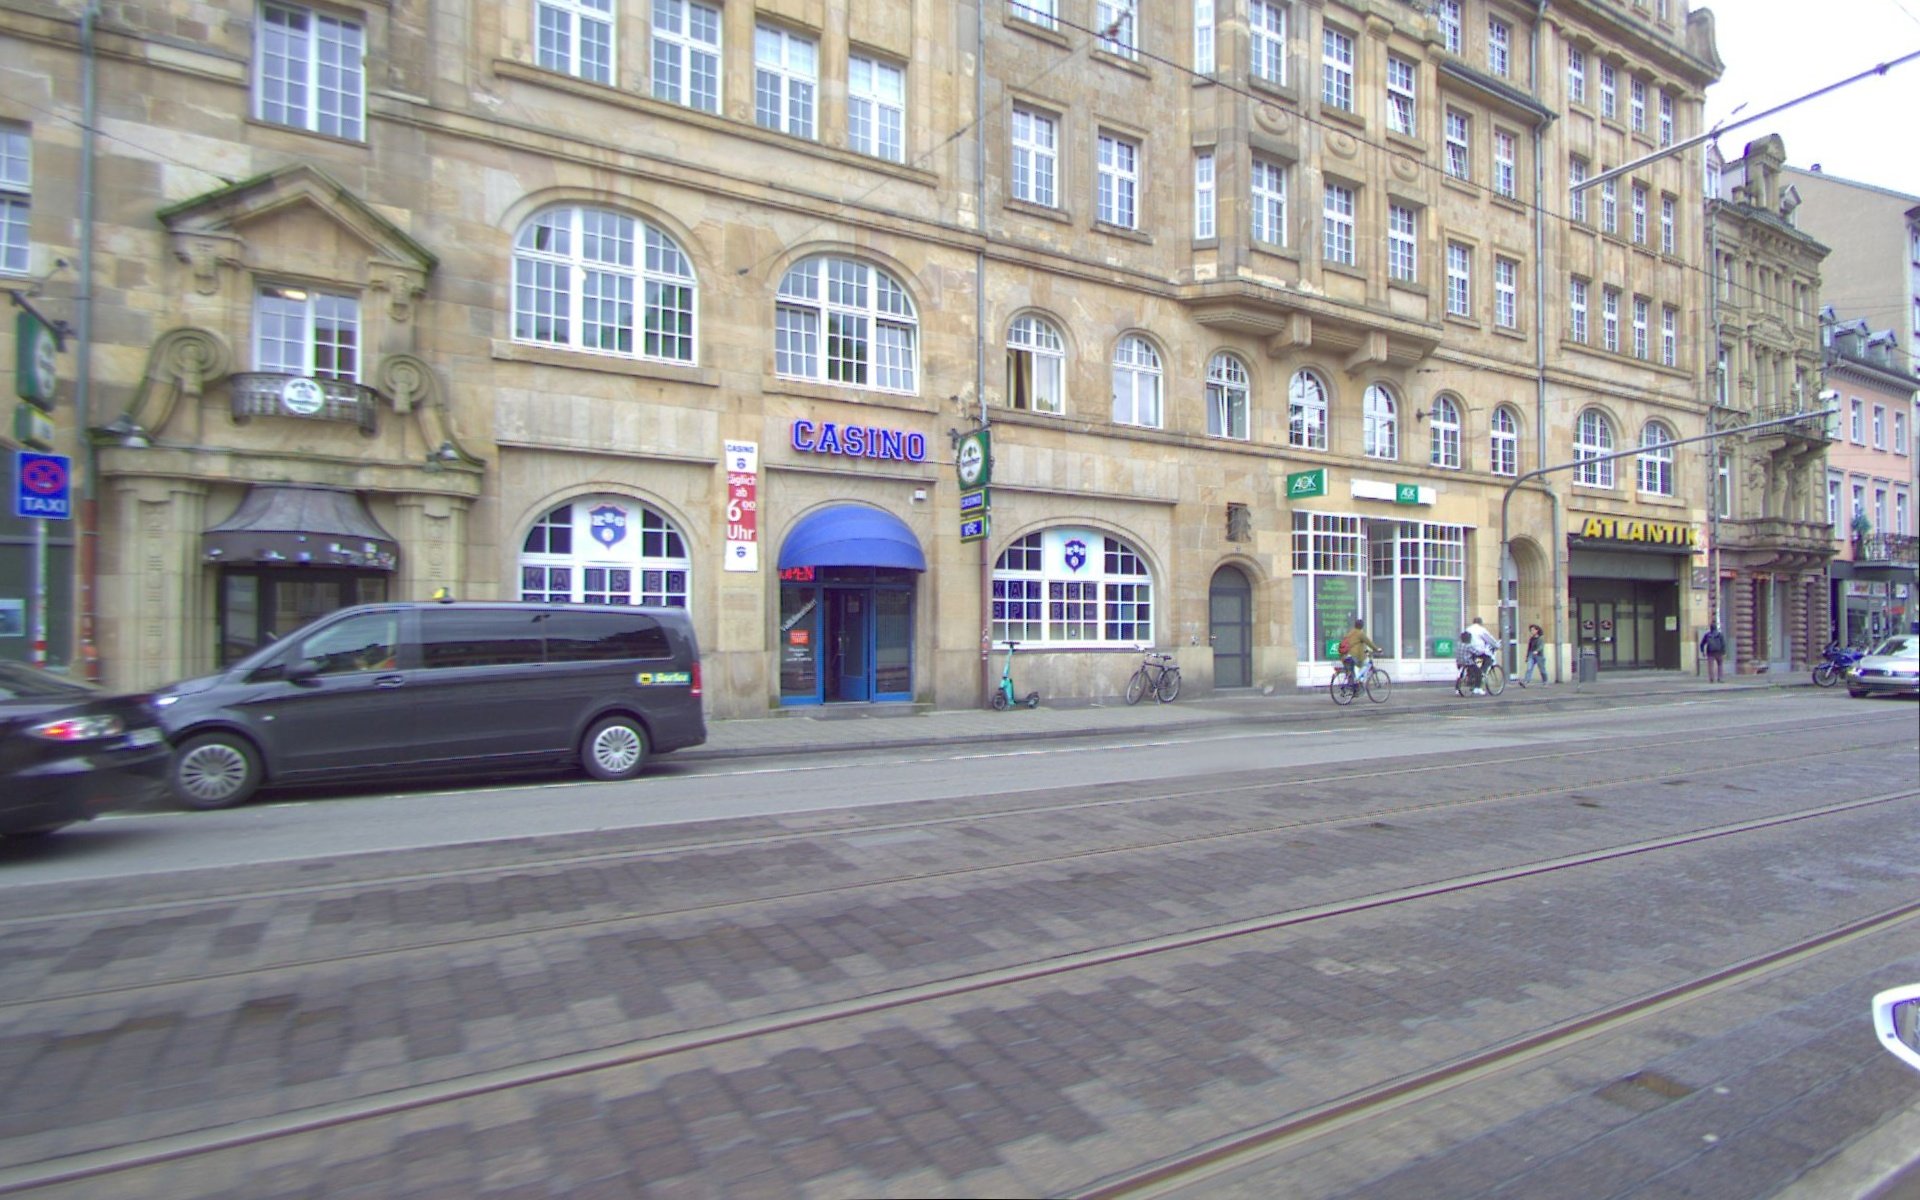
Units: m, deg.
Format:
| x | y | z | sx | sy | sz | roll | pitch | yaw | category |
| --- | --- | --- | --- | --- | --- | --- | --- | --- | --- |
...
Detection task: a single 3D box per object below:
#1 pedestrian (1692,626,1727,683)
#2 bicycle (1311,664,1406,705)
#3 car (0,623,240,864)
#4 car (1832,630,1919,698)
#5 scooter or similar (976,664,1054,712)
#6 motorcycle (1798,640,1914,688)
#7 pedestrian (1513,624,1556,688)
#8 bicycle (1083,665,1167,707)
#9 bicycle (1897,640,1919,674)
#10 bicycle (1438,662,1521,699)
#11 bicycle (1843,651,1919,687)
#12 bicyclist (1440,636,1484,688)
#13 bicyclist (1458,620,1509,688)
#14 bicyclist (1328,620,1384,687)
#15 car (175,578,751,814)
| x | y | z | sx | sy | sz | roll | pitch | yaw | category |
| --- | --- | --- | --- | --- | --- | --- | --- | --- | --- |
| 21.541 | 1.556 | 28.875 | 0.710 | 1.619 | 0.565 | 1 | -2 | -30 | pedestrian |
| 8.231 | 1.718 | 20.697 | 2.224 | 0.755 | 0.579 | 1 | -2 | -31 | bicycle |
| -7.594 | 0.920 | 6.340 | 4.599 | 1.452 | 1.824 | 0 | -4 | -22 | car |
| 22.541 | 1.452 | 23.584 | 4.560 | 1.468 | 1.751 | 1 | -2 | -30 | car |
| 1.014 | 1.596 | 18.400 | 1.330 | 0.813 | 0.579 | 1 | -2 | -30 | scooter or similar |
| 25.673 | 1.808 | 28.834 | 2.299 | 1.320 | 0.883 | -1 | -2 | 24 | motorcycle |
| 14.888 | 1.433 | 26.019 | 0.733 | 1.634 | 0.682 | 1 | -2 | -30 | pedestrian |
| 3.271 | 1.691 | 19.860 | 1.686 | 0.755 | 0.579 | 1 | -2 | -30 | bicycle |
| 32.274 | 1.877 | 32.911 | 0.499 | 1.141 | 2.215 | 1 | -2 | -37 | bicycle |
| 11.832 | 1.818 | 22.845 | 2.224 | 0.755 | 0.579 | 1 | -2 | -31 | bicycle |
| 27.893 | 2.055 | 30.194 | 0.459 | 1.014 | 1.952 | 1 | -2 | -37 | bicycle |
| 11.257 | 1.381 | 22.527 | 0.652 | 1.132 | 0.608 | 1 | -2 | -30 | bicyclist |
| 11.945 | 1.215 | 22.935 | 0.960 | 1.507 | 0.608 | 1 | -2 | -30 | bicyclist |
| 8.144 | 1.089 | 20.652 | 0.960 | 1.341 | 0.608 | 1 | -2 | -30 | bicyclist |
| -4.952 | 0.916 | 10.646 | 5.038 | 2.002 | 1.890 | 1 | -4 | -31 | car |
